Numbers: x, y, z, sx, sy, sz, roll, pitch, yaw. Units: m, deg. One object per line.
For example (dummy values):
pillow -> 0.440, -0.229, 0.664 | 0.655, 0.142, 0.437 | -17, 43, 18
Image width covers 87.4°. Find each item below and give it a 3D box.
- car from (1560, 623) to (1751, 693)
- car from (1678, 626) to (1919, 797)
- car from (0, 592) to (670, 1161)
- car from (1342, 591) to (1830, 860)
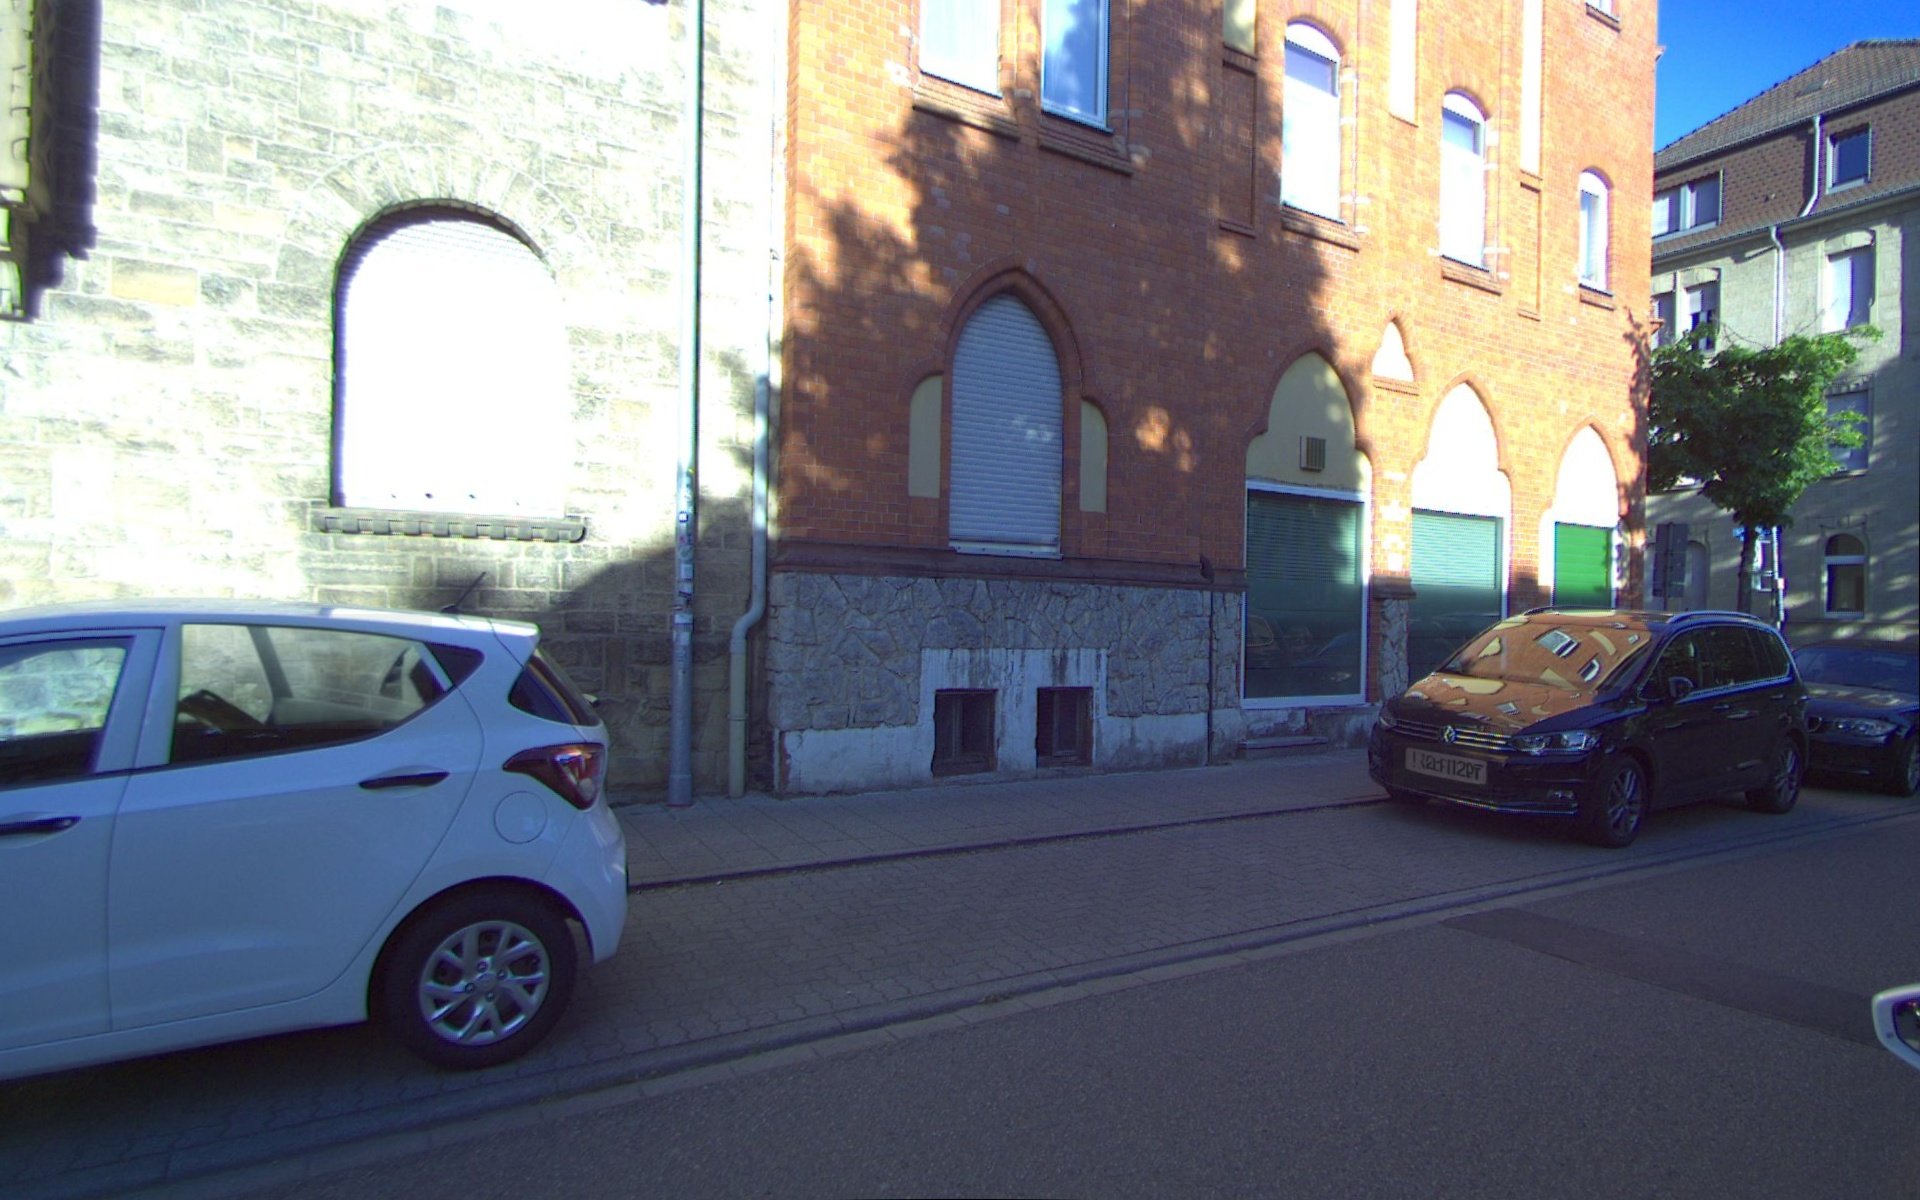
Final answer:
car -> 18.108, 1.452, 26.315 | 1.699, 1.571, 3.776 | -2, 1, -31
car -> 9.732, 1.084, 10.781 | 4.282, 1.429, 1.628 | 2, 1, -30
car -> -2.933, 0.730, 3.319 | 3.546, 1.490, 1.560 | 1, 0, -28
car -> 5.246, 0.858, 8.246 | 4.302, 1.703, 1.660 | 2, 0, -32
